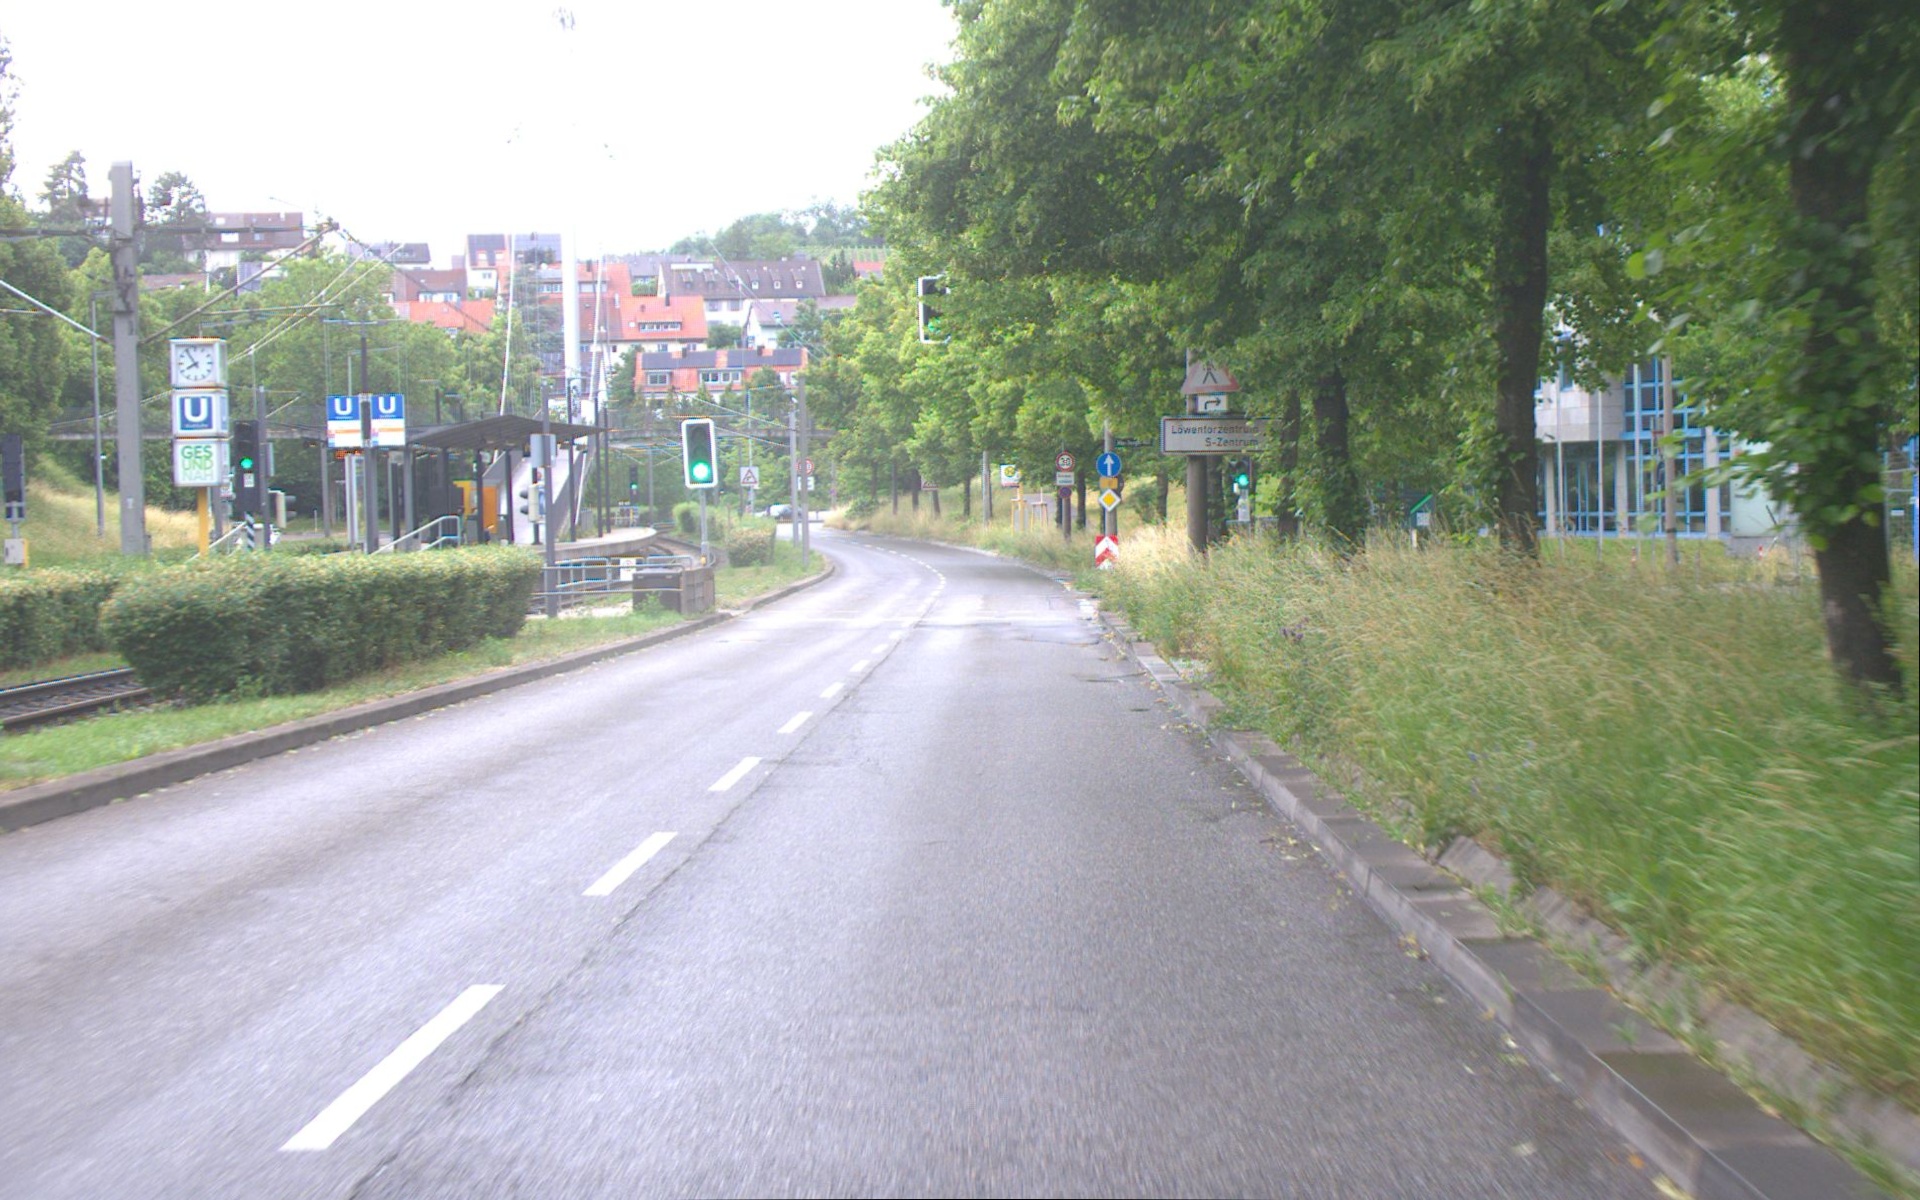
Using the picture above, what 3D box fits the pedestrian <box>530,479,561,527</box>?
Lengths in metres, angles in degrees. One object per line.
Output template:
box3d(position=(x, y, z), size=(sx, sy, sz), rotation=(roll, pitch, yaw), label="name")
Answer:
box3d(position=(-14.208, -3.325, 117.873), size=(0.935, 1.605, 1.027), rotation=(-1, 2, -3), label="pedestrian")
